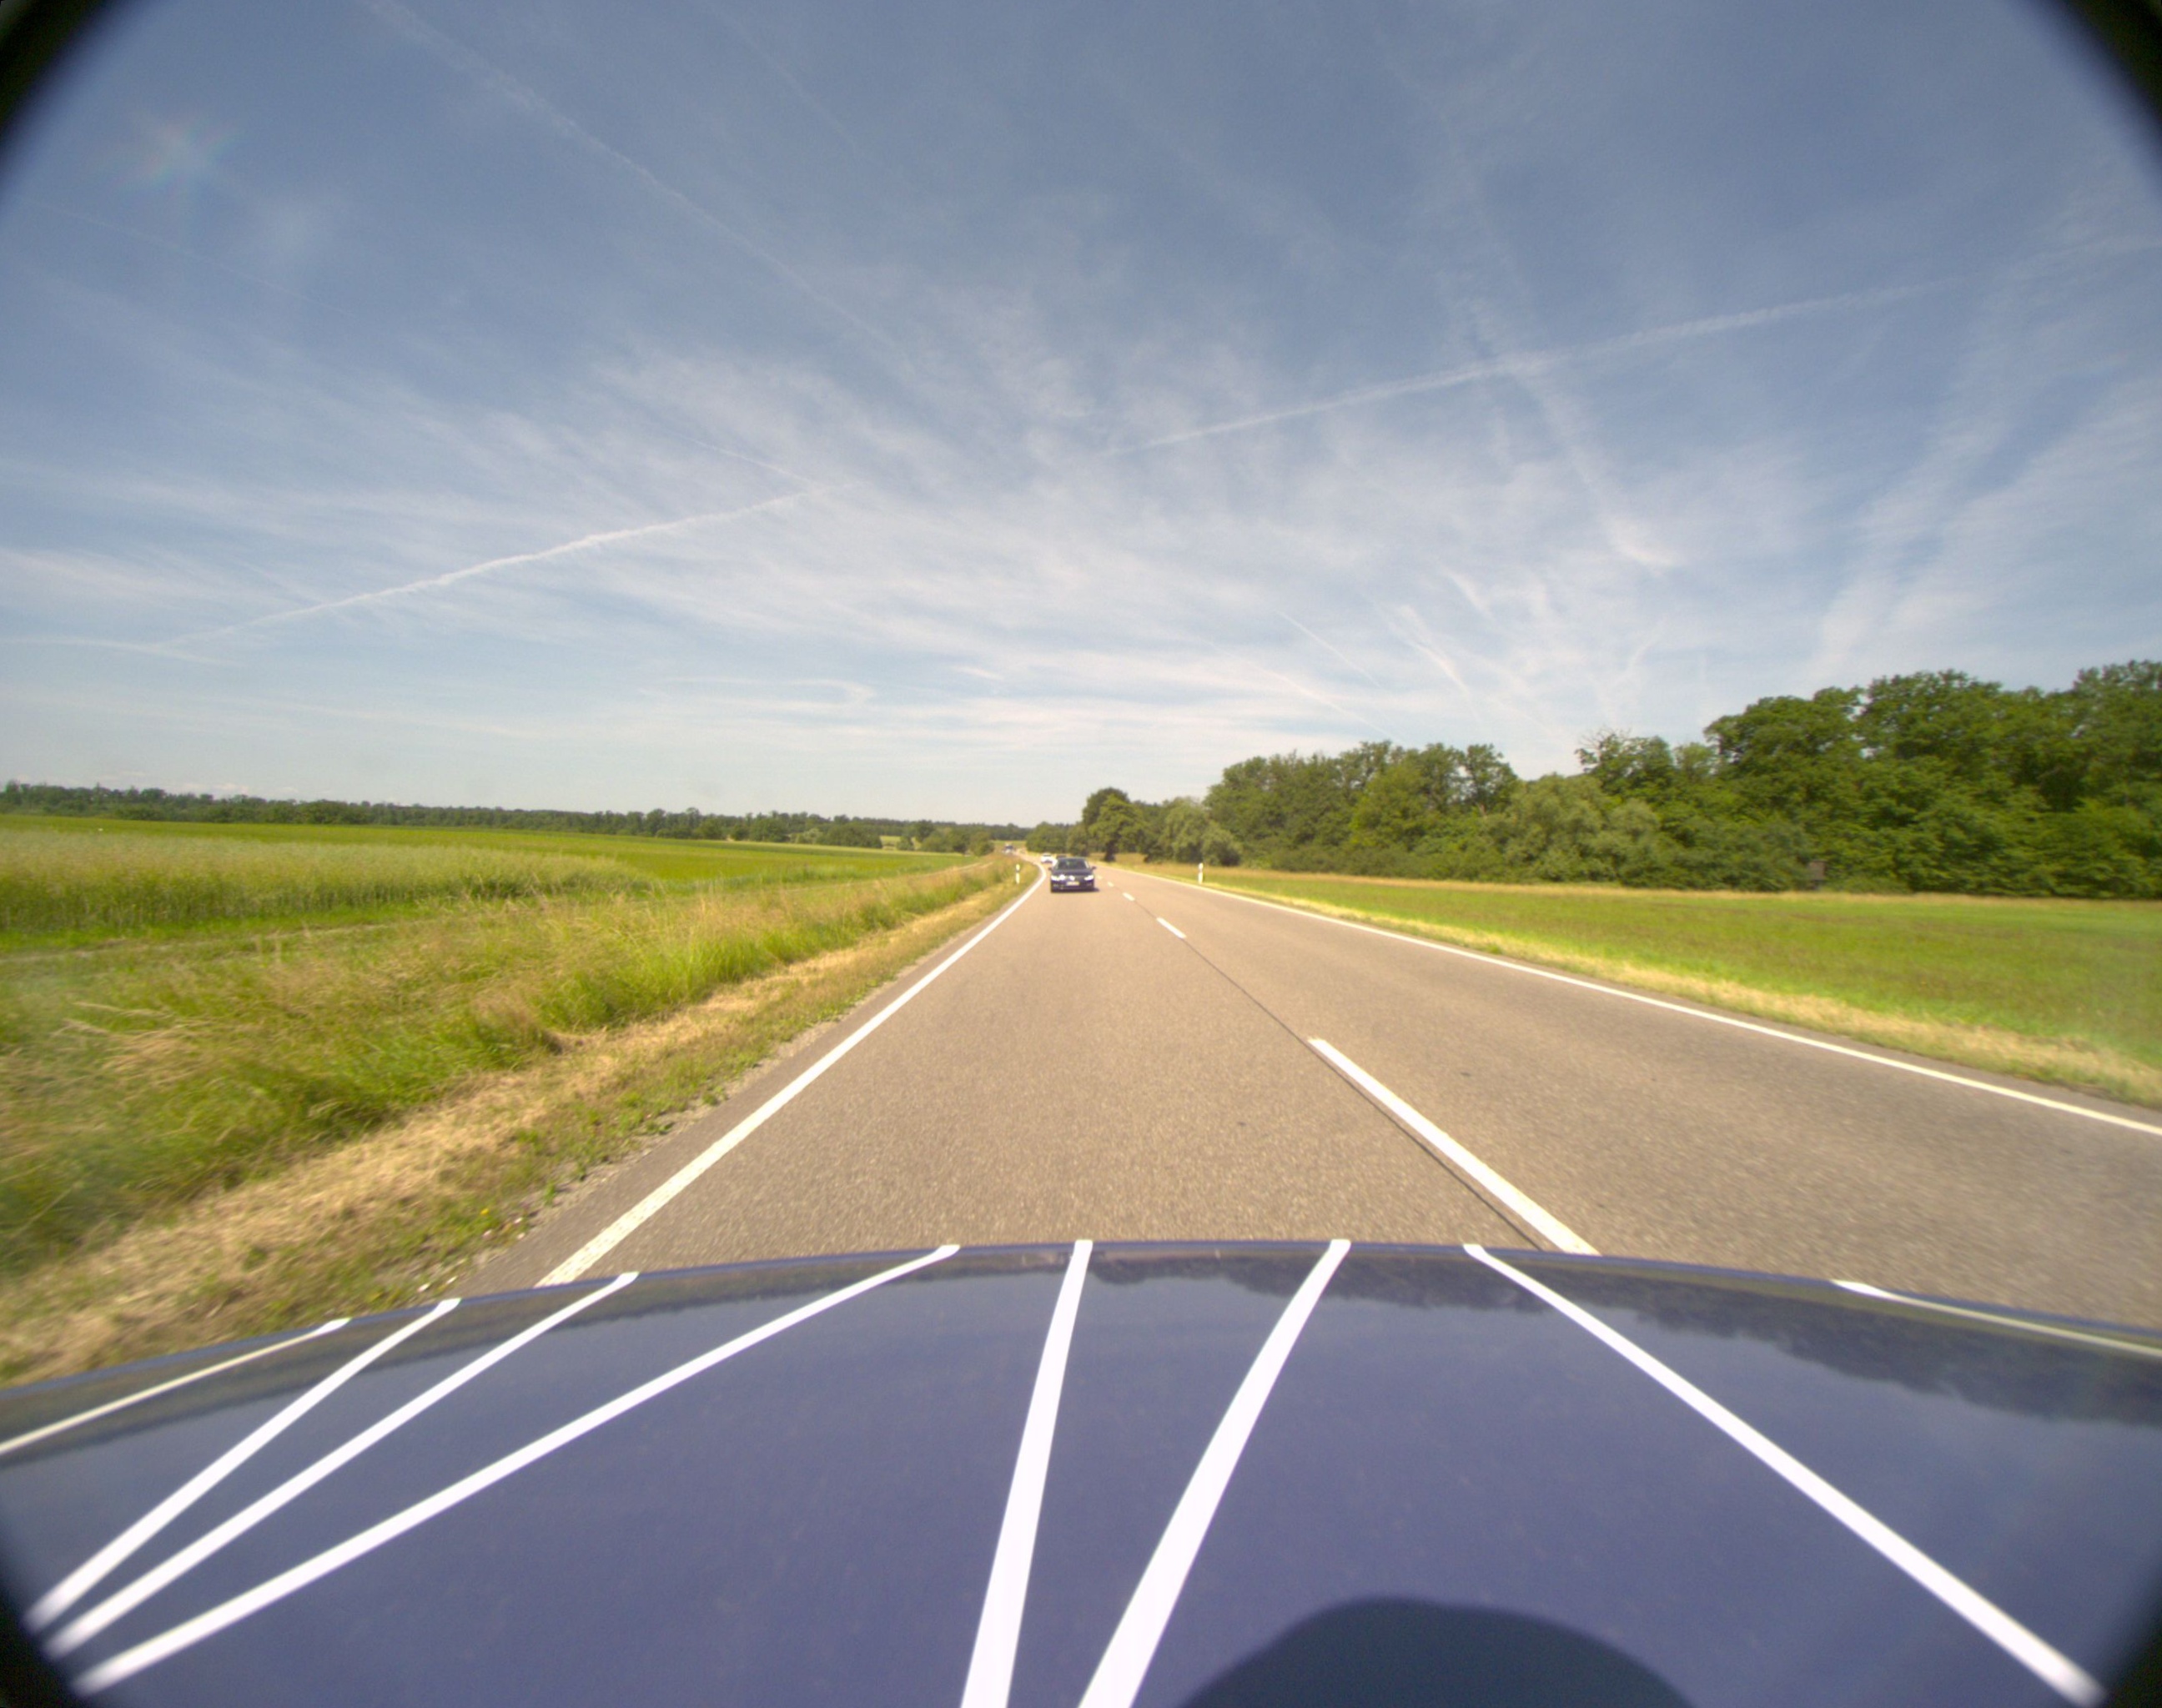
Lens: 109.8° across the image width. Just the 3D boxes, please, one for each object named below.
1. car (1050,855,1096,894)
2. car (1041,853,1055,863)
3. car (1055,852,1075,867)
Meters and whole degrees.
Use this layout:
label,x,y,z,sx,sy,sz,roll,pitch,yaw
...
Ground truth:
label,x,y,z,sx,sy,sz,roll,pitch,yaw
car,-0.364,0.815,32.979,1.822,1.501,4.499,-2,0,-1
car,-4.960,0.555,114.440,1.929,1.501,4.289,1,0,-5
car,-1.756,0.572,80.786,1.929,1.501,4.289,0,0,-4
